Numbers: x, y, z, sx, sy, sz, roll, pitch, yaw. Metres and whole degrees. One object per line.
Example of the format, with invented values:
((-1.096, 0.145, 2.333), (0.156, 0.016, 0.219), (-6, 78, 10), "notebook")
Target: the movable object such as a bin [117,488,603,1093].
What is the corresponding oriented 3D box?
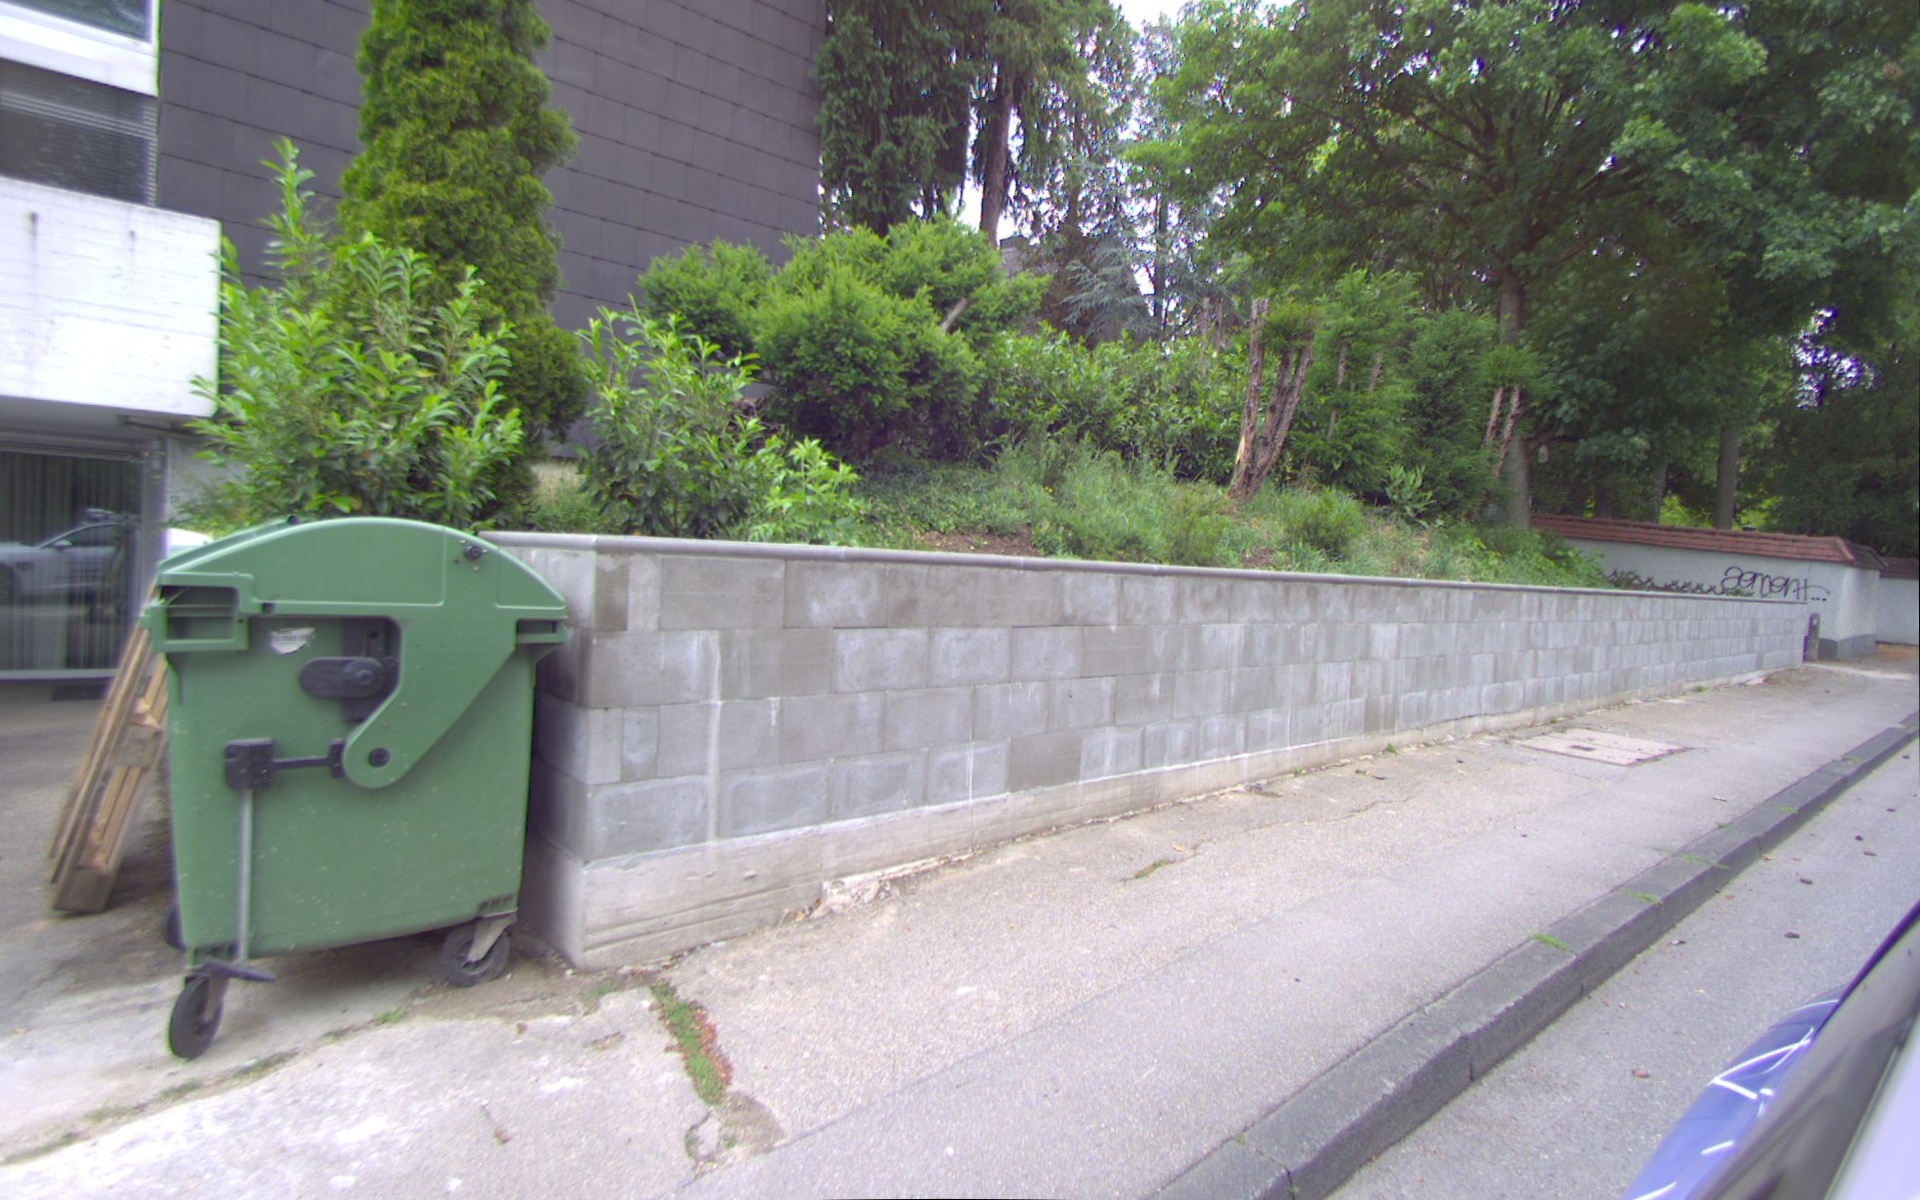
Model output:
((-1.996, 0.414, 3.306), (1.160, 1.468, 1.303), (0, 4, -40), "movable object such as a bin")
